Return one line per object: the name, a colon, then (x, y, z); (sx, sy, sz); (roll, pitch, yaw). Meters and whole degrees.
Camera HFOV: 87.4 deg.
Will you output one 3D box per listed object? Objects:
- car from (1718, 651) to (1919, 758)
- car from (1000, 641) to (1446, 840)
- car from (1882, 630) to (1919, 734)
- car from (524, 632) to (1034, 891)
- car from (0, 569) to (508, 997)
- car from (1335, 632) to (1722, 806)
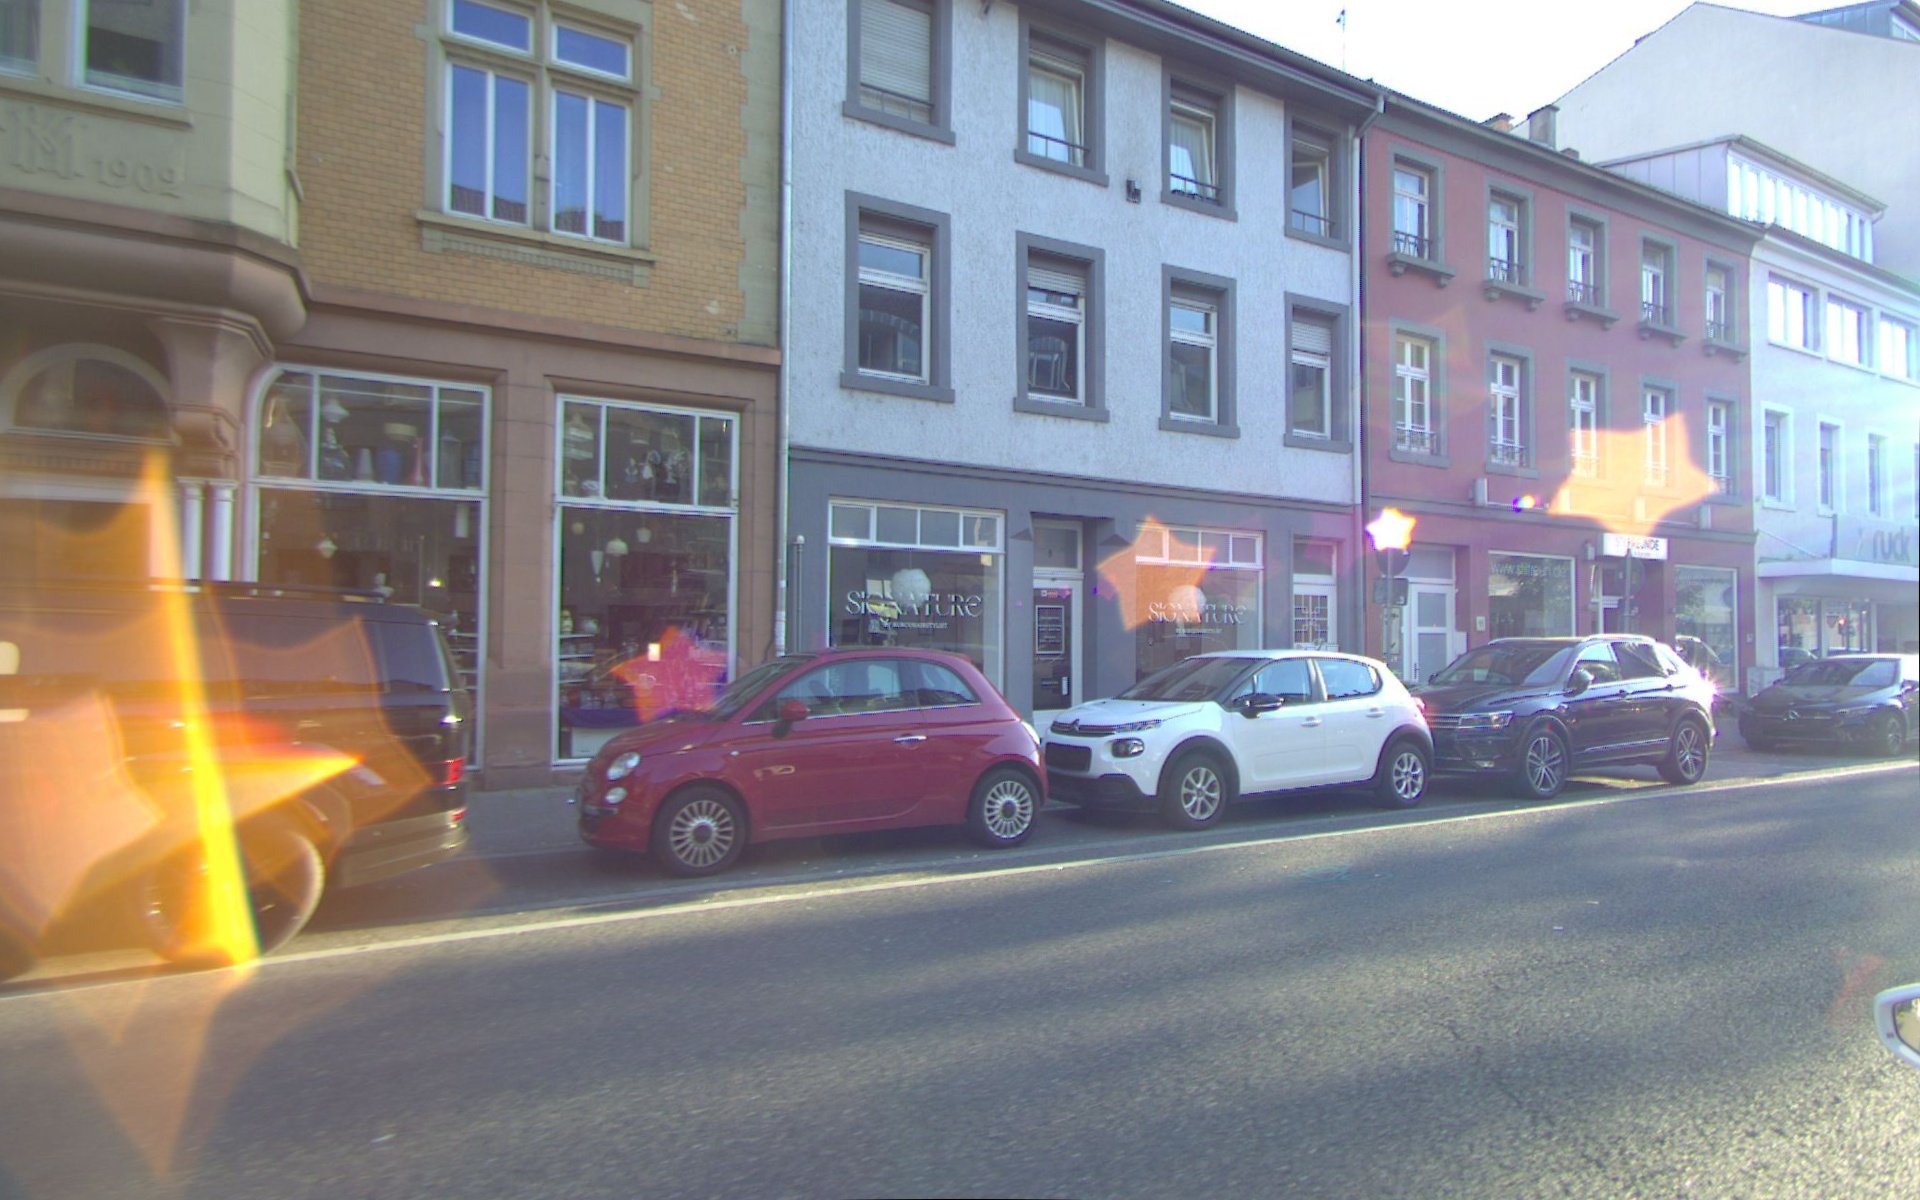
car: (13.924, 1.537, 15.657); (4.255, 1.459, 1.707); (1, -3, -28)
car: (2.500, 1.172, 9.494); (3.899, 1.534, 1.768); (1, -3, -27)
car: (19.457, 1.485, 18.694); (5.285, 1.833, 1.819); (1, -4, -30)
car: (-1.365, 1.054, 7.593); (3.439, 1.534, 1.768); (1, -4, -27)
car: (-4.791, 0.780, 4.711); (4.651, 1.751, 1.894); (2, -4, -33)
car: (6.424, 1.222, 11.311); (4.183, 1.654, 1.768); (1, -4, -27)
